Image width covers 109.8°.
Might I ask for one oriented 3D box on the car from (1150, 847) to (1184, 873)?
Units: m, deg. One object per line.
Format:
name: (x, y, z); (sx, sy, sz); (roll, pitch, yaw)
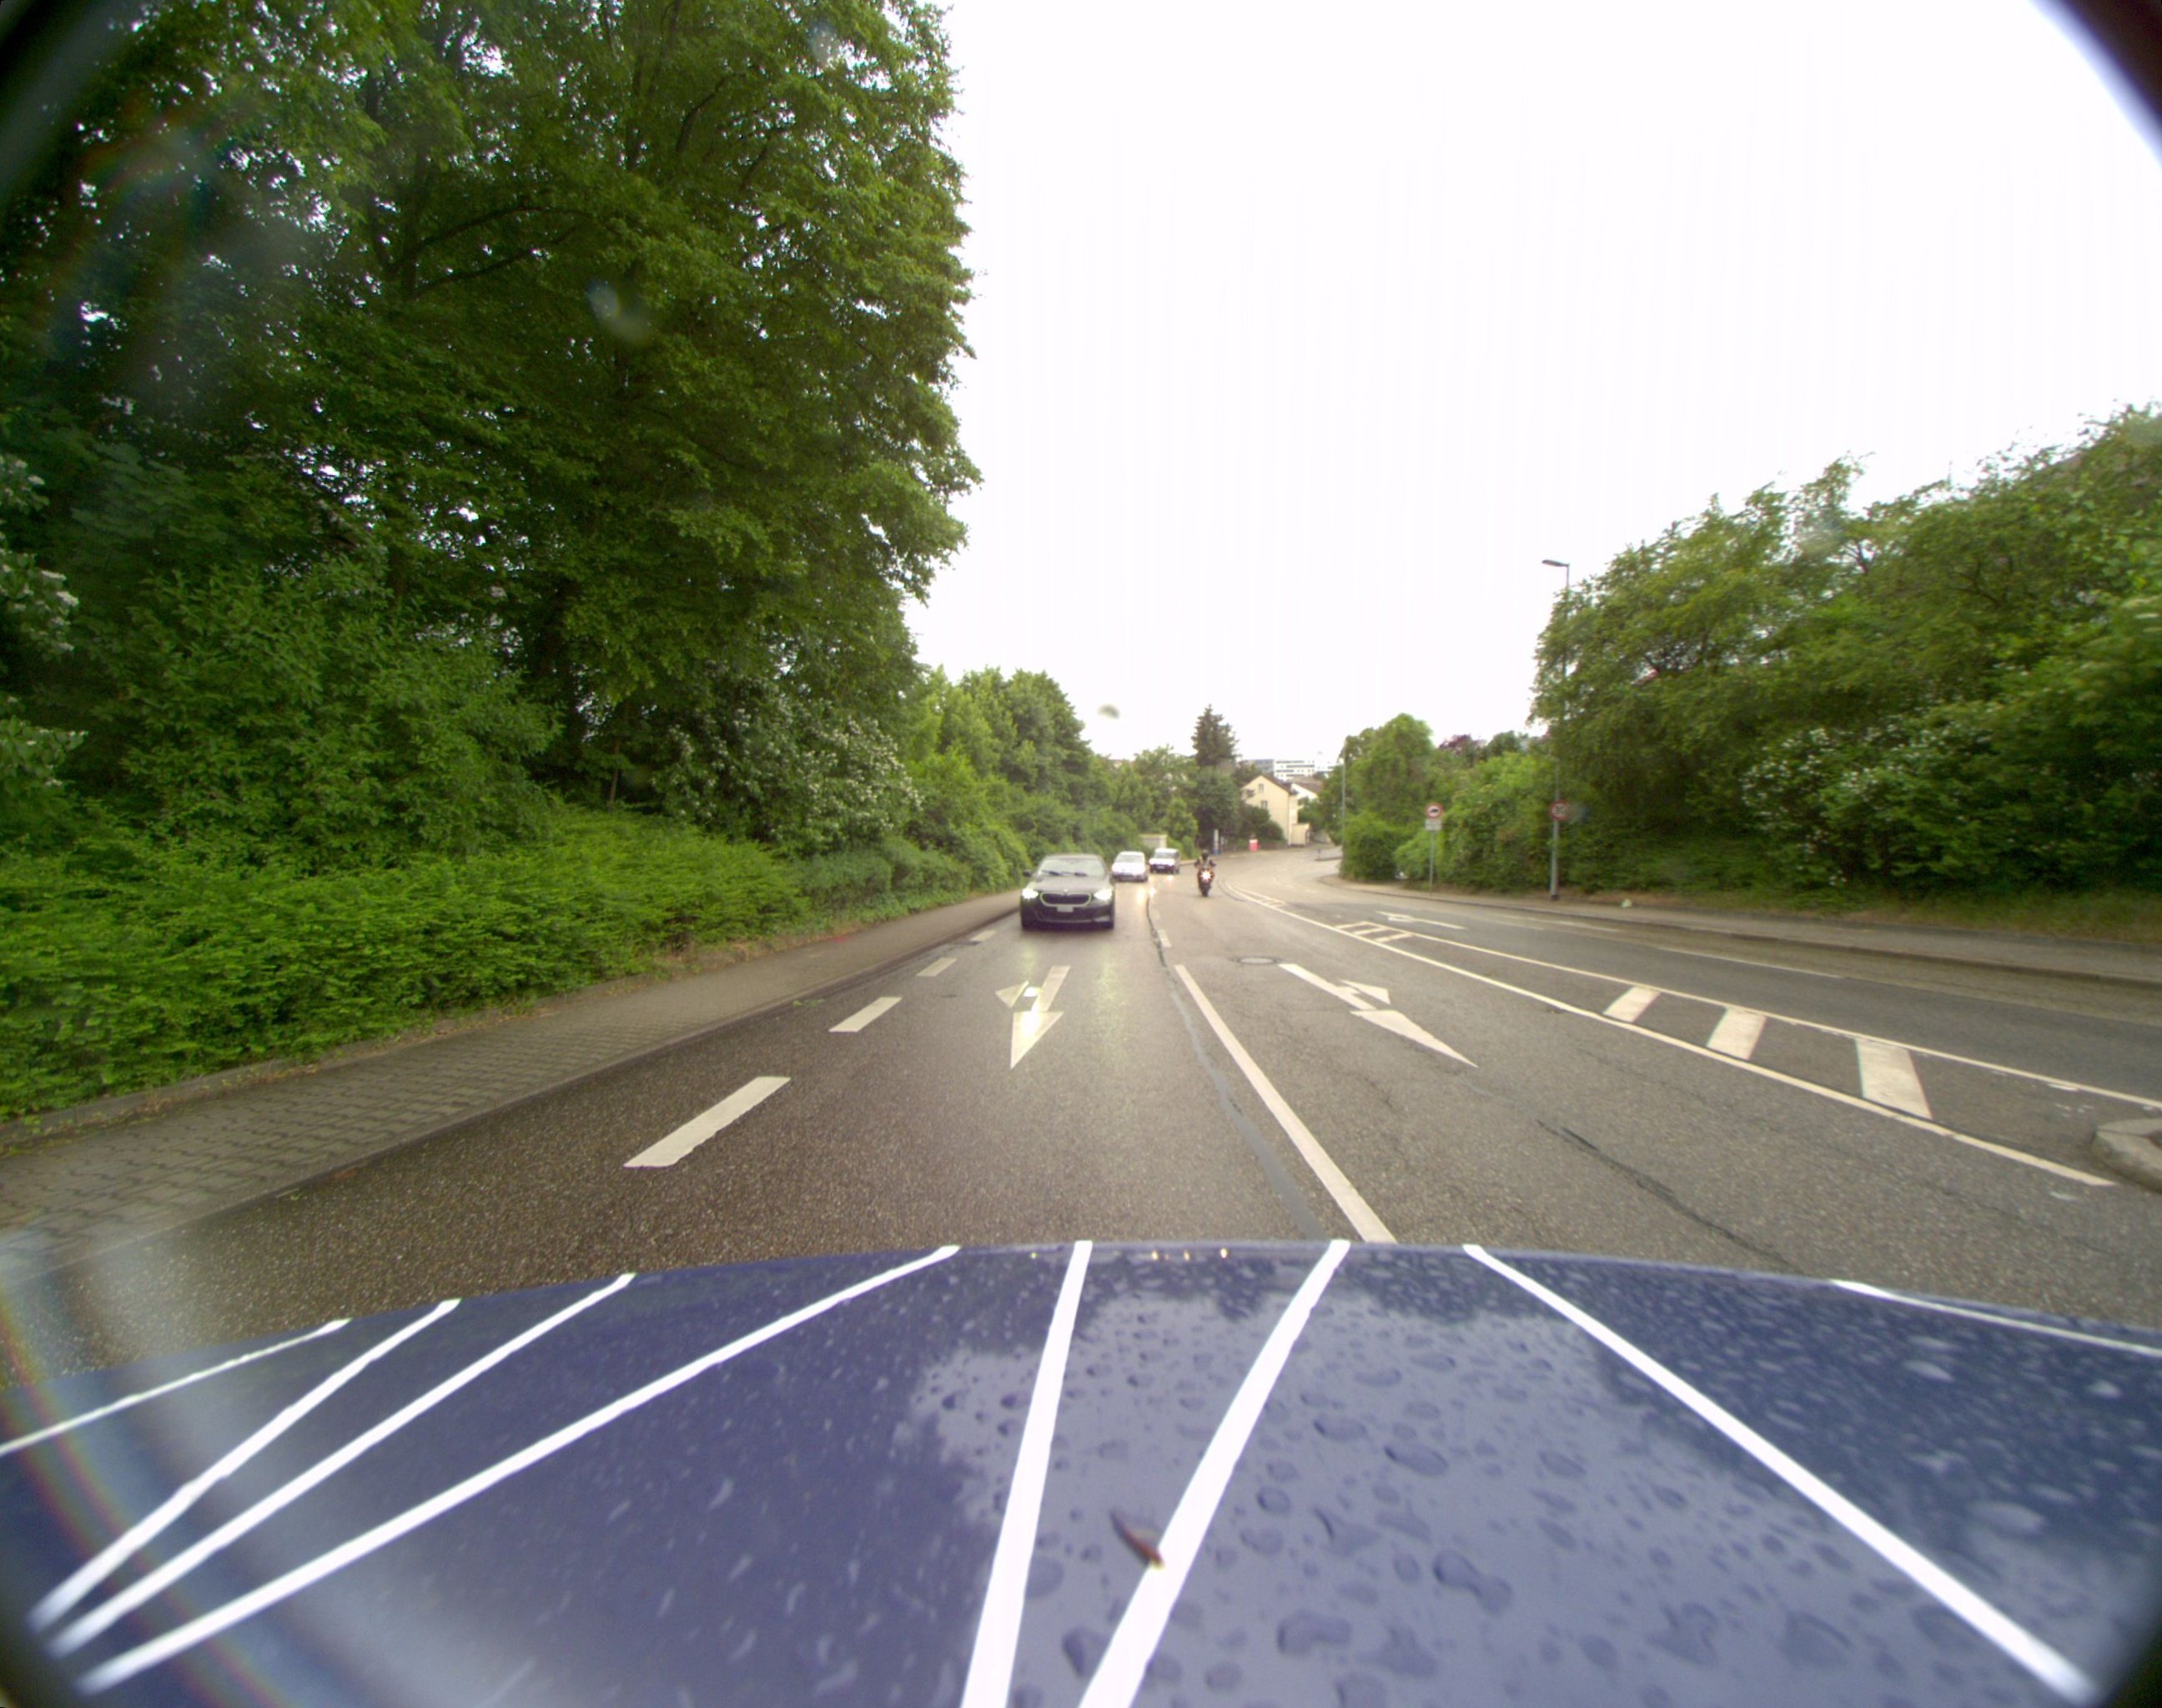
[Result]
car: (6.399, 0.399, 56.224); (1.775, 1.765, 4.005); (4, 2, 17)

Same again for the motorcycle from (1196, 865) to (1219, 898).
motorcycle: (4.609, 0.979, 27.749); (0.692, 1.047, 1.747); (3, 2, 7)

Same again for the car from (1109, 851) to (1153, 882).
car: (2.666, 0.613, 39.689); (1.816, 1.431, 4.003); (3, 2, 10)

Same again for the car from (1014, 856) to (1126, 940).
car: (-0.099, 0.829, 16.443); (1.871, 1.497, 4.199); (1, 1, 6)

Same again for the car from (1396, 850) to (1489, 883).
car: (18.560, 0.616, 39.161); (3.908, 1.432, 1.812); (-4, 0, 9)

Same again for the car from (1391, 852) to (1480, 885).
car: (19.470, 0.781, 41.872); (3.995, 1.527, 2.001); (-4, 0, 8)

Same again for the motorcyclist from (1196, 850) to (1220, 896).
motorcyclist: (4.613, 0.680, 27.661); (0.766, 1.633, 0.674); (2, 2, 5)
